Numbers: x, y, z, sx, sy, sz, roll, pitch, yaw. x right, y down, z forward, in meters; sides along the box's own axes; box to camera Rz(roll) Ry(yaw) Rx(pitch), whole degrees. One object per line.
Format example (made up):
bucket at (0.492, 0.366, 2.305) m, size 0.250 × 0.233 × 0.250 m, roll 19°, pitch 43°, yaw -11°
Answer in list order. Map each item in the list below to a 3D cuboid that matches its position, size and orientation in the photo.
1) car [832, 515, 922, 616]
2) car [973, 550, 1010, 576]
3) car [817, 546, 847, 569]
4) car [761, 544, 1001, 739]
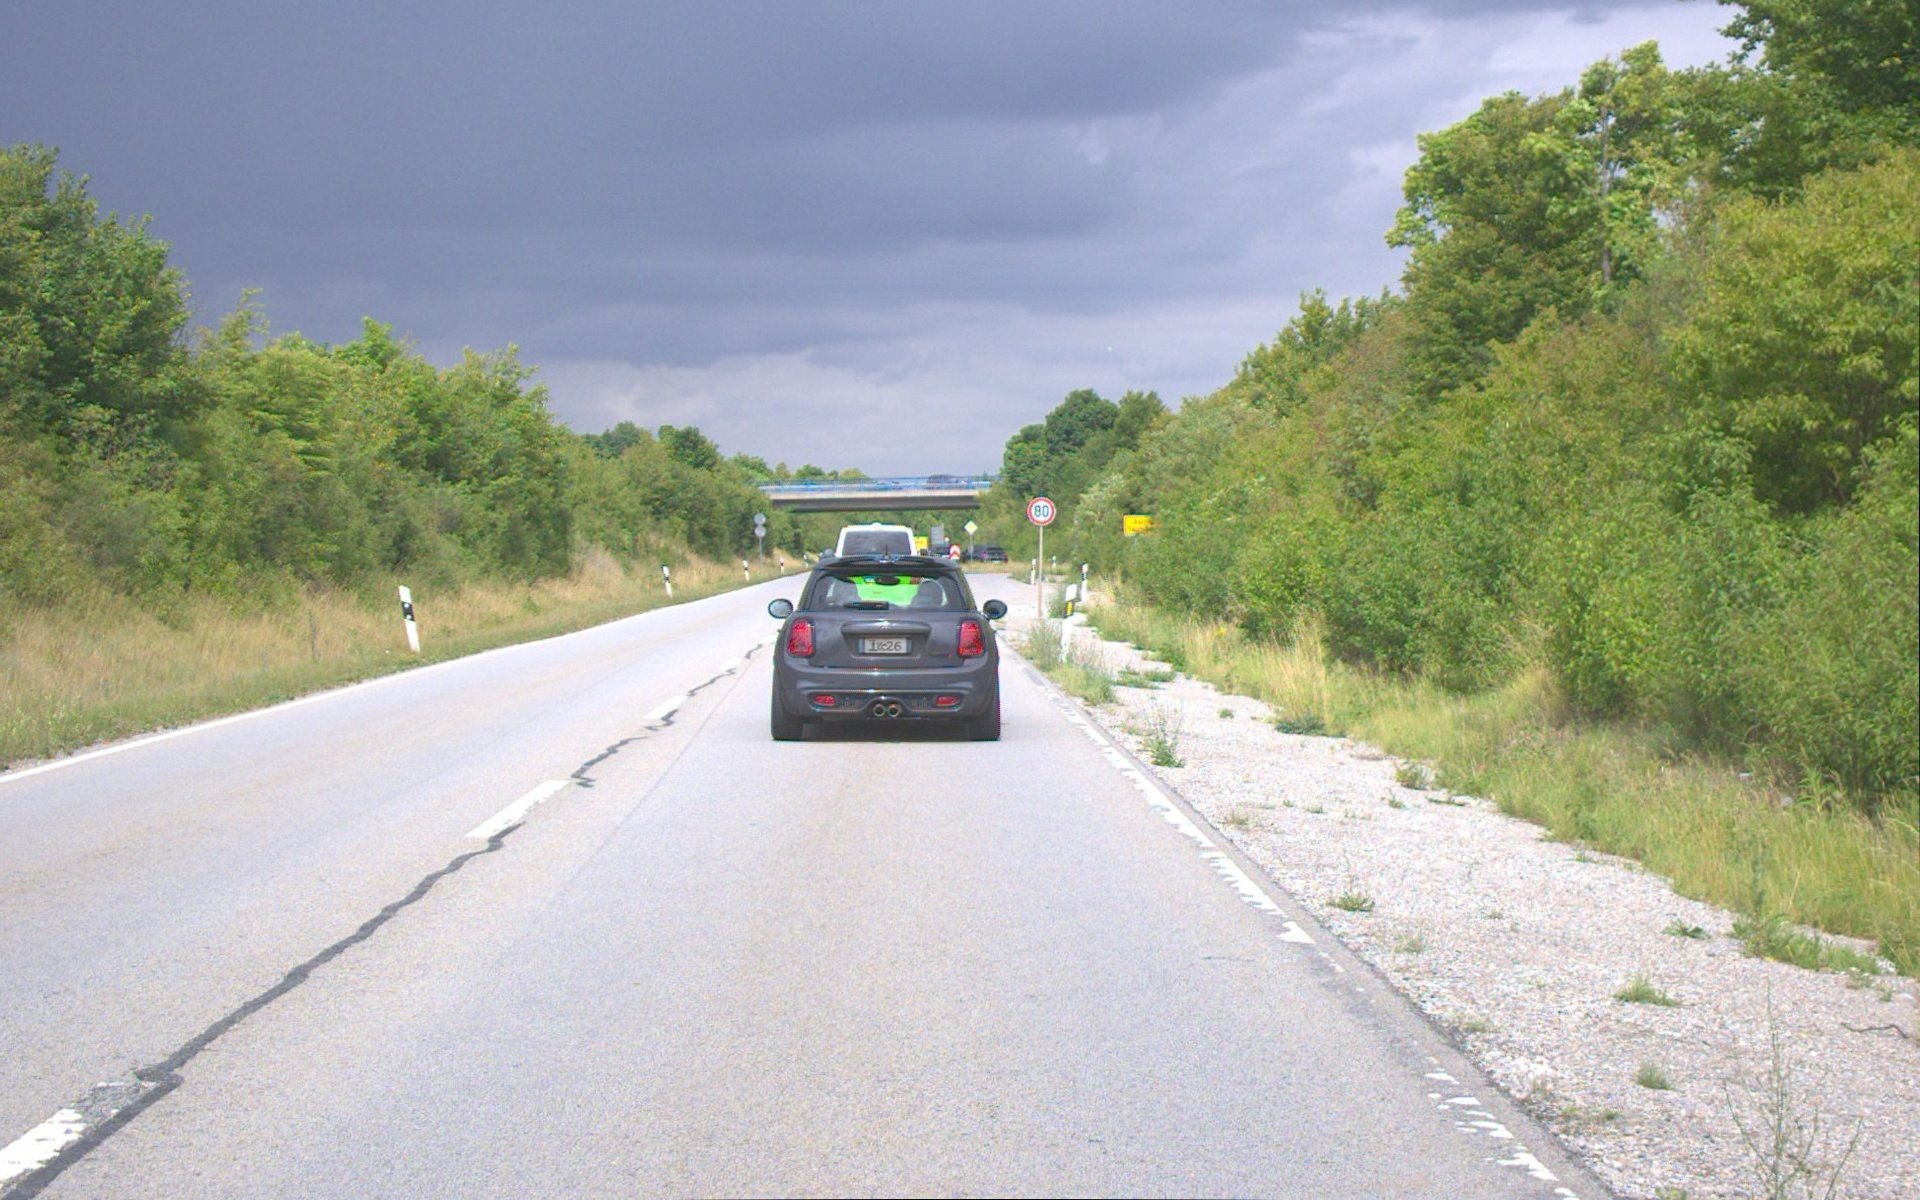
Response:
car at (-1.742, -0.744, 72.553) m, size 1.819 × 2.047 × 4.000 m, roll 0°, pitch 1°, yaw -1°
car at (1.941, -2.293, 211.249) m, size 1.993 × 1.546 × 4.001 m, roll 0°, pitch 1°, yaw -3°
car at (-7.636, -2.558, 205.485) m, size 1.701 × 1.326 × 4.000 m, roll -1°, pitch 1°, yaw -1°
car at (-0.622, 0.279, 27.358) m, size 1.756 × 1.422 × 4.000 m, roll 0°, pitch 1°, yaw -1°
